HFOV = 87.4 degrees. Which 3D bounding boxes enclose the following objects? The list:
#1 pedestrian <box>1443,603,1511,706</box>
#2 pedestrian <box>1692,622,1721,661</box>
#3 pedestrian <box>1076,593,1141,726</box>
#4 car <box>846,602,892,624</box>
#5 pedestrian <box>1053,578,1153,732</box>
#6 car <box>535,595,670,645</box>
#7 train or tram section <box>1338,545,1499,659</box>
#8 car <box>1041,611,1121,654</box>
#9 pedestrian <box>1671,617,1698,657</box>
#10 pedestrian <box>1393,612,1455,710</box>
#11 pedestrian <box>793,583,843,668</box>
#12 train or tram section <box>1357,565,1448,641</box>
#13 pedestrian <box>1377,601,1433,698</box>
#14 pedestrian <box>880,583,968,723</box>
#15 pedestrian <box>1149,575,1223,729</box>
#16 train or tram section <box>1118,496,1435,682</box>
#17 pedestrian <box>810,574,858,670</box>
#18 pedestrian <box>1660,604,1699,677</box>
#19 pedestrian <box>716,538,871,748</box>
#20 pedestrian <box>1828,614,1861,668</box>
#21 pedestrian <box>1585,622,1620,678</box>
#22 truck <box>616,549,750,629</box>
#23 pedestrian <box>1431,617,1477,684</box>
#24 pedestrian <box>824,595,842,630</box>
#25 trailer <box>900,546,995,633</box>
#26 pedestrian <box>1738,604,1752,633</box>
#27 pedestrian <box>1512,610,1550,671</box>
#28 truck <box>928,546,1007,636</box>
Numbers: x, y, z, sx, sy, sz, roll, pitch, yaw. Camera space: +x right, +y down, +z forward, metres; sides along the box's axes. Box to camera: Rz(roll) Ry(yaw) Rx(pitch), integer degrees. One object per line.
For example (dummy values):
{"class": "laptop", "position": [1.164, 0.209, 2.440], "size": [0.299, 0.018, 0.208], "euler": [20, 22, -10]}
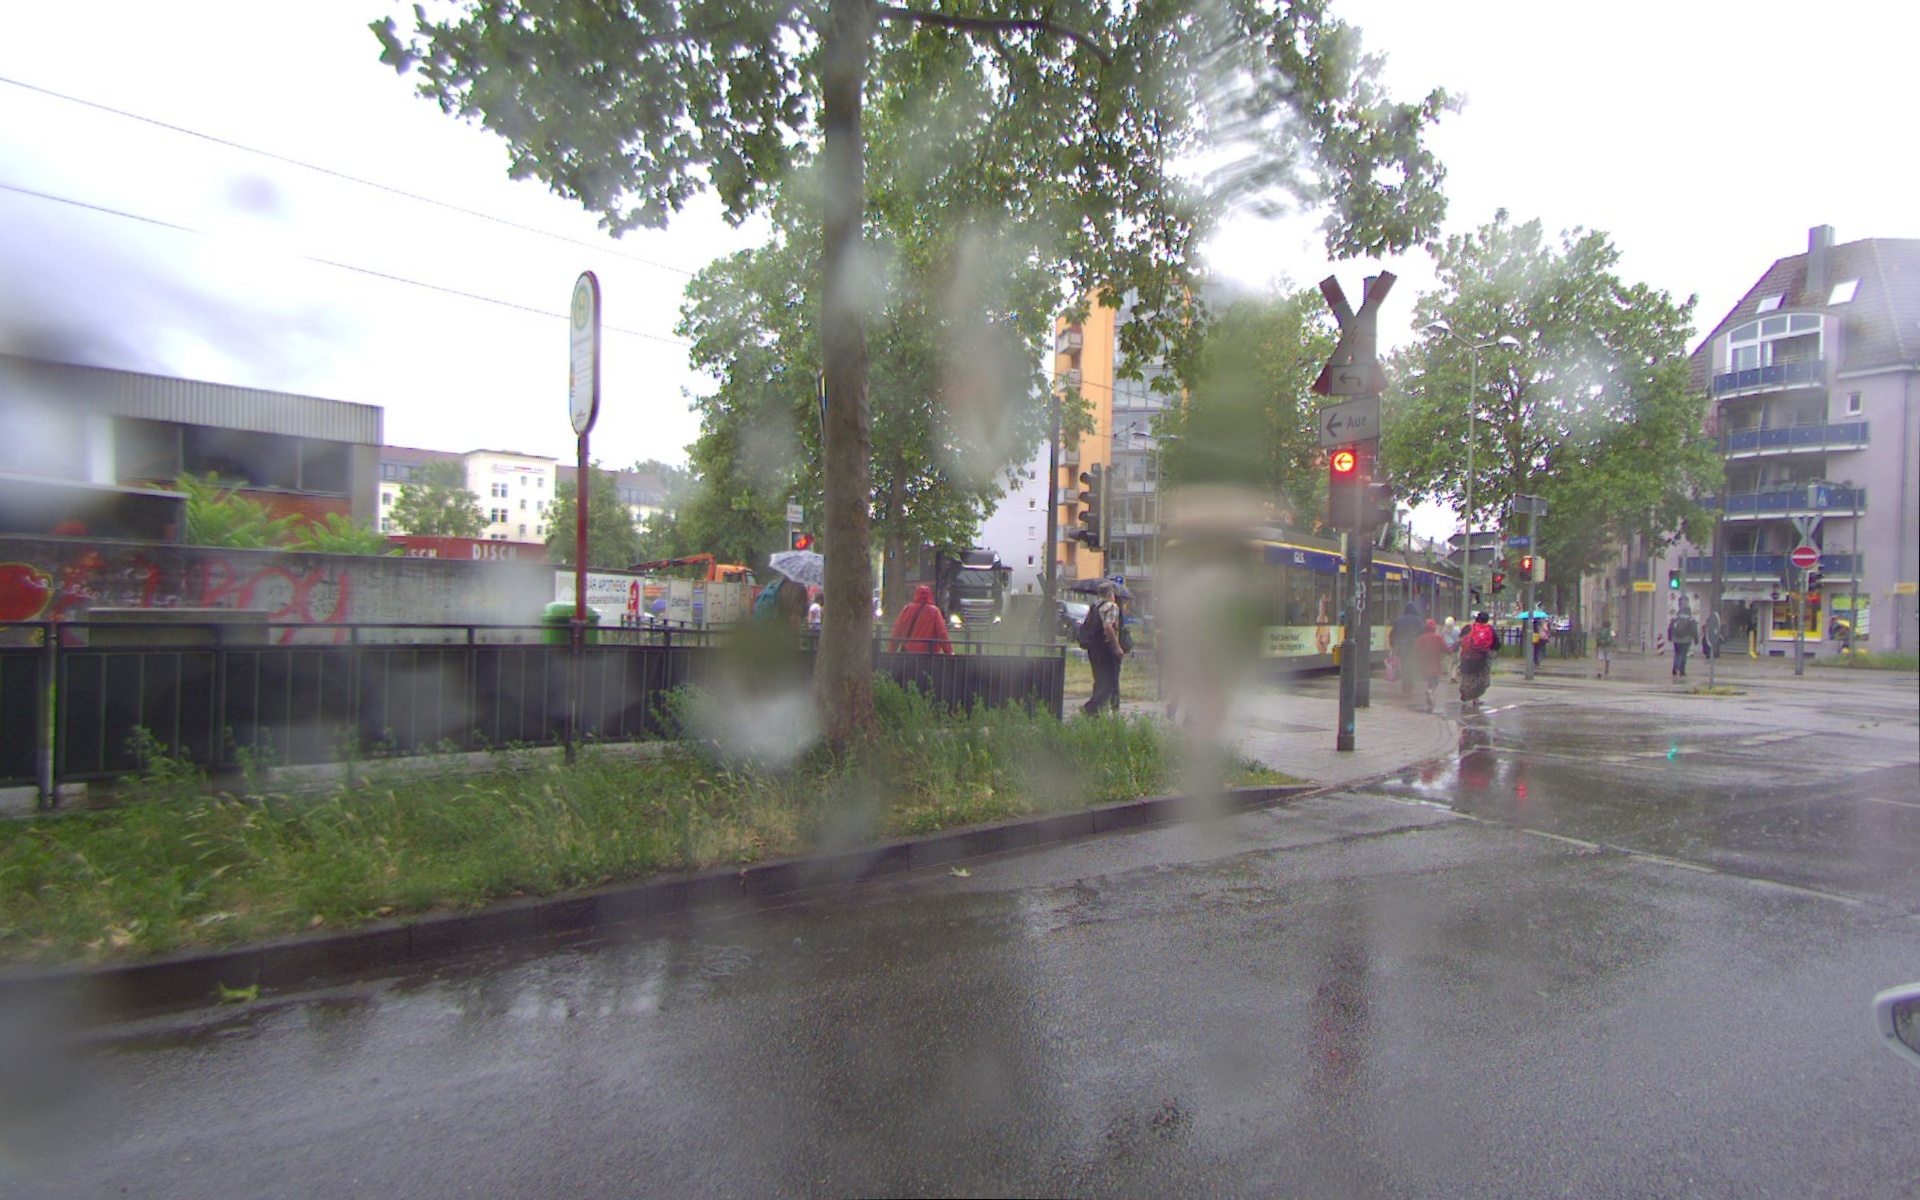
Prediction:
{"class": "pedestrian", "position": [8.528, 0.876, 16.579], "size": [0.809, 1.646, 0.724], "euler": [0, 0, -37]}
{"class": "pedestrian", "position": [30.348, 1.685, 40.834], "size": [0.737, 1.553, 0.791], "euler": [2, 0, 21]}
{"class": "pedestrian", "position": [1.961, 0.774, 13.286], "size": [0.782, 1.705, 0.660], "euler": [-2, 0, 8]}
{"class": "car", "position": [-8.262, 1.166, 90.931], "size": [3.930, 1.808, 1.996], "euler": [2, 0, -12]}
{"class": "pedestrian", "position": [1.740, 0.636, 12.203], "size": [0.855, 1.778, 0.826], "euler": [2, 1, 41]}
{"class": "car", "position": [-10.437, 0.573, 29.398], "size": [3.447, 1.323, 1.405], "euler": [2, 0, 10]}
{"class": "train or tram section", "position": [17.778, 0.140, 38.131], "size": [2.823, 3.593, 13.668], "euler": [2, 0, 36]}
{"class": "car", "position": [4.823, 1.278, 40.487], "size": [1.585, 1.551, 4.017], "euler": [1, 1, -19]}
{"class": "pedestrian", "position": [30.792, 1.563, 42.712], "size": [0.662, 1.622, 0.968], "euler": [2, 0, 21]}
{"class": "pedestrian", "position": [7.628, 0.985, 16.516], "size": [0.653, 1.540, 0.677], "euler": [1, 0, -36]}
{"class": "pedestrian", "position": [-2.999, 0.532, 21.186], "size": [0.675, 1.752, 0.752], "euler": [2, 1, 42]}
{"class": "train or tram section", "position": [26.117, 0.290, 58.613], "size": [2.839, 3.818, 17.211], "euler": [2, 0, 30]}
{"class": "pedestrian", "position": [8.134, 0.895, 18.389], "size": [0.823, 1.721, 0.689], "euler": [-2, 0, 17]}
{"class": "pedestrian", "position": [-0.419, 0.616, 11.881], "size": [0.783, 1.593, 0.659], "euler": [-2, 0, 24]}
{"class": "pedestrian", "position": [2.932, 0.647, 12.988], "size": [0.854, 1.889, 0.892], "euler": [1, 0, 16]}
{"class": "train or tram section", "position": [9.141, -0.113, 26.401], "size": [2.824, 3.593, 15.312], "euler": [2, 0, 37]}
{"class": "pedestrian", "position": [-2.554, 0.439, 20.318], "size": [0.768, 1.891, 0.936], "euler": [2, 0, -18]}
{"class": "pedestrian", "position": [19.150, 1.060, 26.731], "size": [0.777, 1.880, 0.679], "euler": [2, 1, 37]}
{"class": "pedestrian", "position": [-1.586, 0.382, 9.550], "size": [1.068, 1.851, 0.974], "euler": [-1, 0, -41]}
{"class": "pedestrian", "position": [36.788, 1.709, 41.788], "size": [0.896, 2.179, 0.884], "euler": [2, 0, 34]}
{"class": "pedestrian", "position": [16.765, 1.286, 26.224], "size": [0.638, 1.414, 0.782], "euler": [1, 0, 26]}
{"class": "truck", "position": [-11.961, -0.456, 43.588], "size": [5.383, 3.205, 2.164], "euler": [2, 0, -16]}
{"class": "pedestrian", "position": [10.449, 1.054, 21.238], "size": [0.704, 1.367, 0.650], "euler": [1, 1, -44]}
{"class": "pedestrian", "position": [-6.955, 0.694, 54.864], "size": [0.765, 1.891, 0.940], "euler": [2, 0, 4]}
{"class": "trailer", "position": [-0.829, -0.468, 50.743], "size": [2.593, 3.899, 10.114], "euler": [2, 0, -13]}
{"class": "pedestrian", "position": [36.892, 0.878, 47.208], "size": [0.439, 1.347, 0.558], "euler": [2, 0, 43]}
{"class": "pedestrian", "position": [17.509, 1.222, 30.788], "size": [0.943, 1.789, 0.951], "euler": [2, 0, 31]}
{"class": "truck", "position": [0.264, -0.393, 46.052], "size": [2.593, 3.842, 4.444], "euler": [2, 0, -13]}
